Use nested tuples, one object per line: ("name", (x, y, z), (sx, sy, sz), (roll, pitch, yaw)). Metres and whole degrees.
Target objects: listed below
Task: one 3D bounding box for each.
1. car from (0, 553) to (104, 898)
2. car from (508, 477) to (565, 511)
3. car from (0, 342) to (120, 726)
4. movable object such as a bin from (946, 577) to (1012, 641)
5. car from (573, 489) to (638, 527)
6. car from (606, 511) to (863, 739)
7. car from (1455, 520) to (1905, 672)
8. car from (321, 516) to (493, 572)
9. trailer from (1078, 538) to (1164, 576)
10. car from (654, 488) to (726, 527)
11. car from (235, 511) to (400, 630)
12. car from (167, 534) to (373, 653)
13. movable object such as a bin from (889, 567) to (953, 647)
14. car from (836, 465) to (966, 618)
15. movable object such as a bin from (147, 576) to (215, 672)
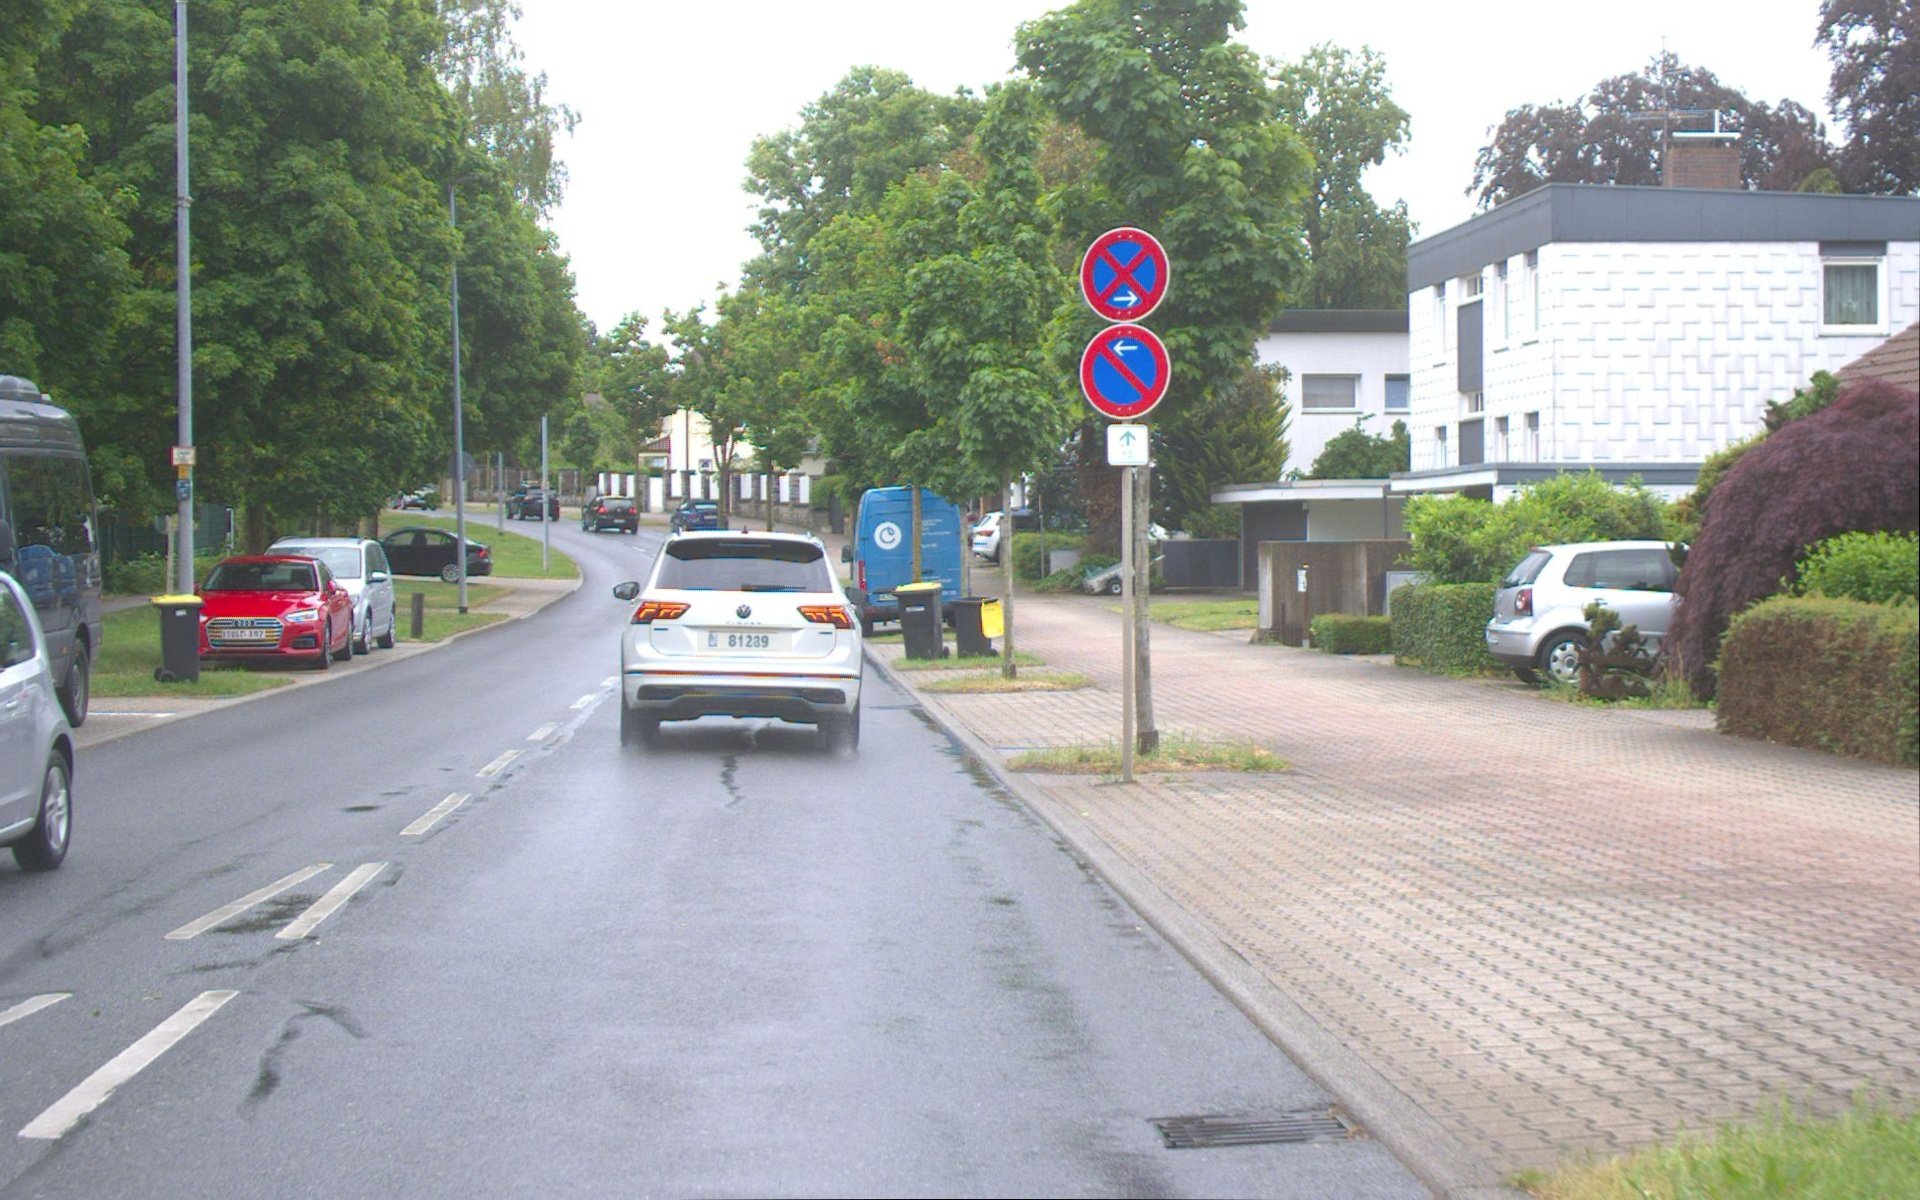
("car", (-4.906, 0.547, 14.705), (1.594, 1.459, 3.453), (0, 1, 1))
("car", (-19.030, -4.768, 154.372), (1.642, 1.422, 4.002), (1, 3, -20))
("car", (-7.857, -0.517, 25.628), (1.993, 2.719, 5.939), (1, 1, -3))
("movable object such as a bin", (0.254, 0.122, 45.427), (0.660, 0.797, 0.600), (-3, 0, 22))
("car", (-14.397, -3.750, 139.353), (1.642, 1.422, 4.002), (1, 3, -20))
("car", (-1.787, 0.134, 27.209), (1.865, 1.645, 4.001), (-1, 1, -4))
("car", (7.068, -0.055, 33.970), (3.986, 1.437, 1.847), (0, 1, -5))
("car", (-14.508, -1.469, 90.287), (4.218, 1.358, 1.690), (1, 1, 1))
("trailer", (4.001, -1.074, 85.504), (2.042, 0.880, 1.364), (1, 1, 0))
("car", (-10.698, -3.666, 135.949), (1.642, 1.422, 4.002), (1, 3, -23))
("car", (-9.134, -0.454, 49.145), (1.756, 1.622, 4.233), (0, 1, -3))
("car", (-8.655, -0.124, 43.472), (1.993, 1.398, 4.558), (0, 1, -4))
("movable object such as a bin", (-0.521, 0.089, 45.988), (0.615, 1.011, 0.562), (-4, 0, 22))
("car", (-1.127, -1.091, 62.340), (1.993, 2.578, 5.634), (-2, 2, -4))
("movable object such as a bin", (-7.853, 0.239, 34.665), (0.558, 0.950, 0.549), (0, 1, 0))
